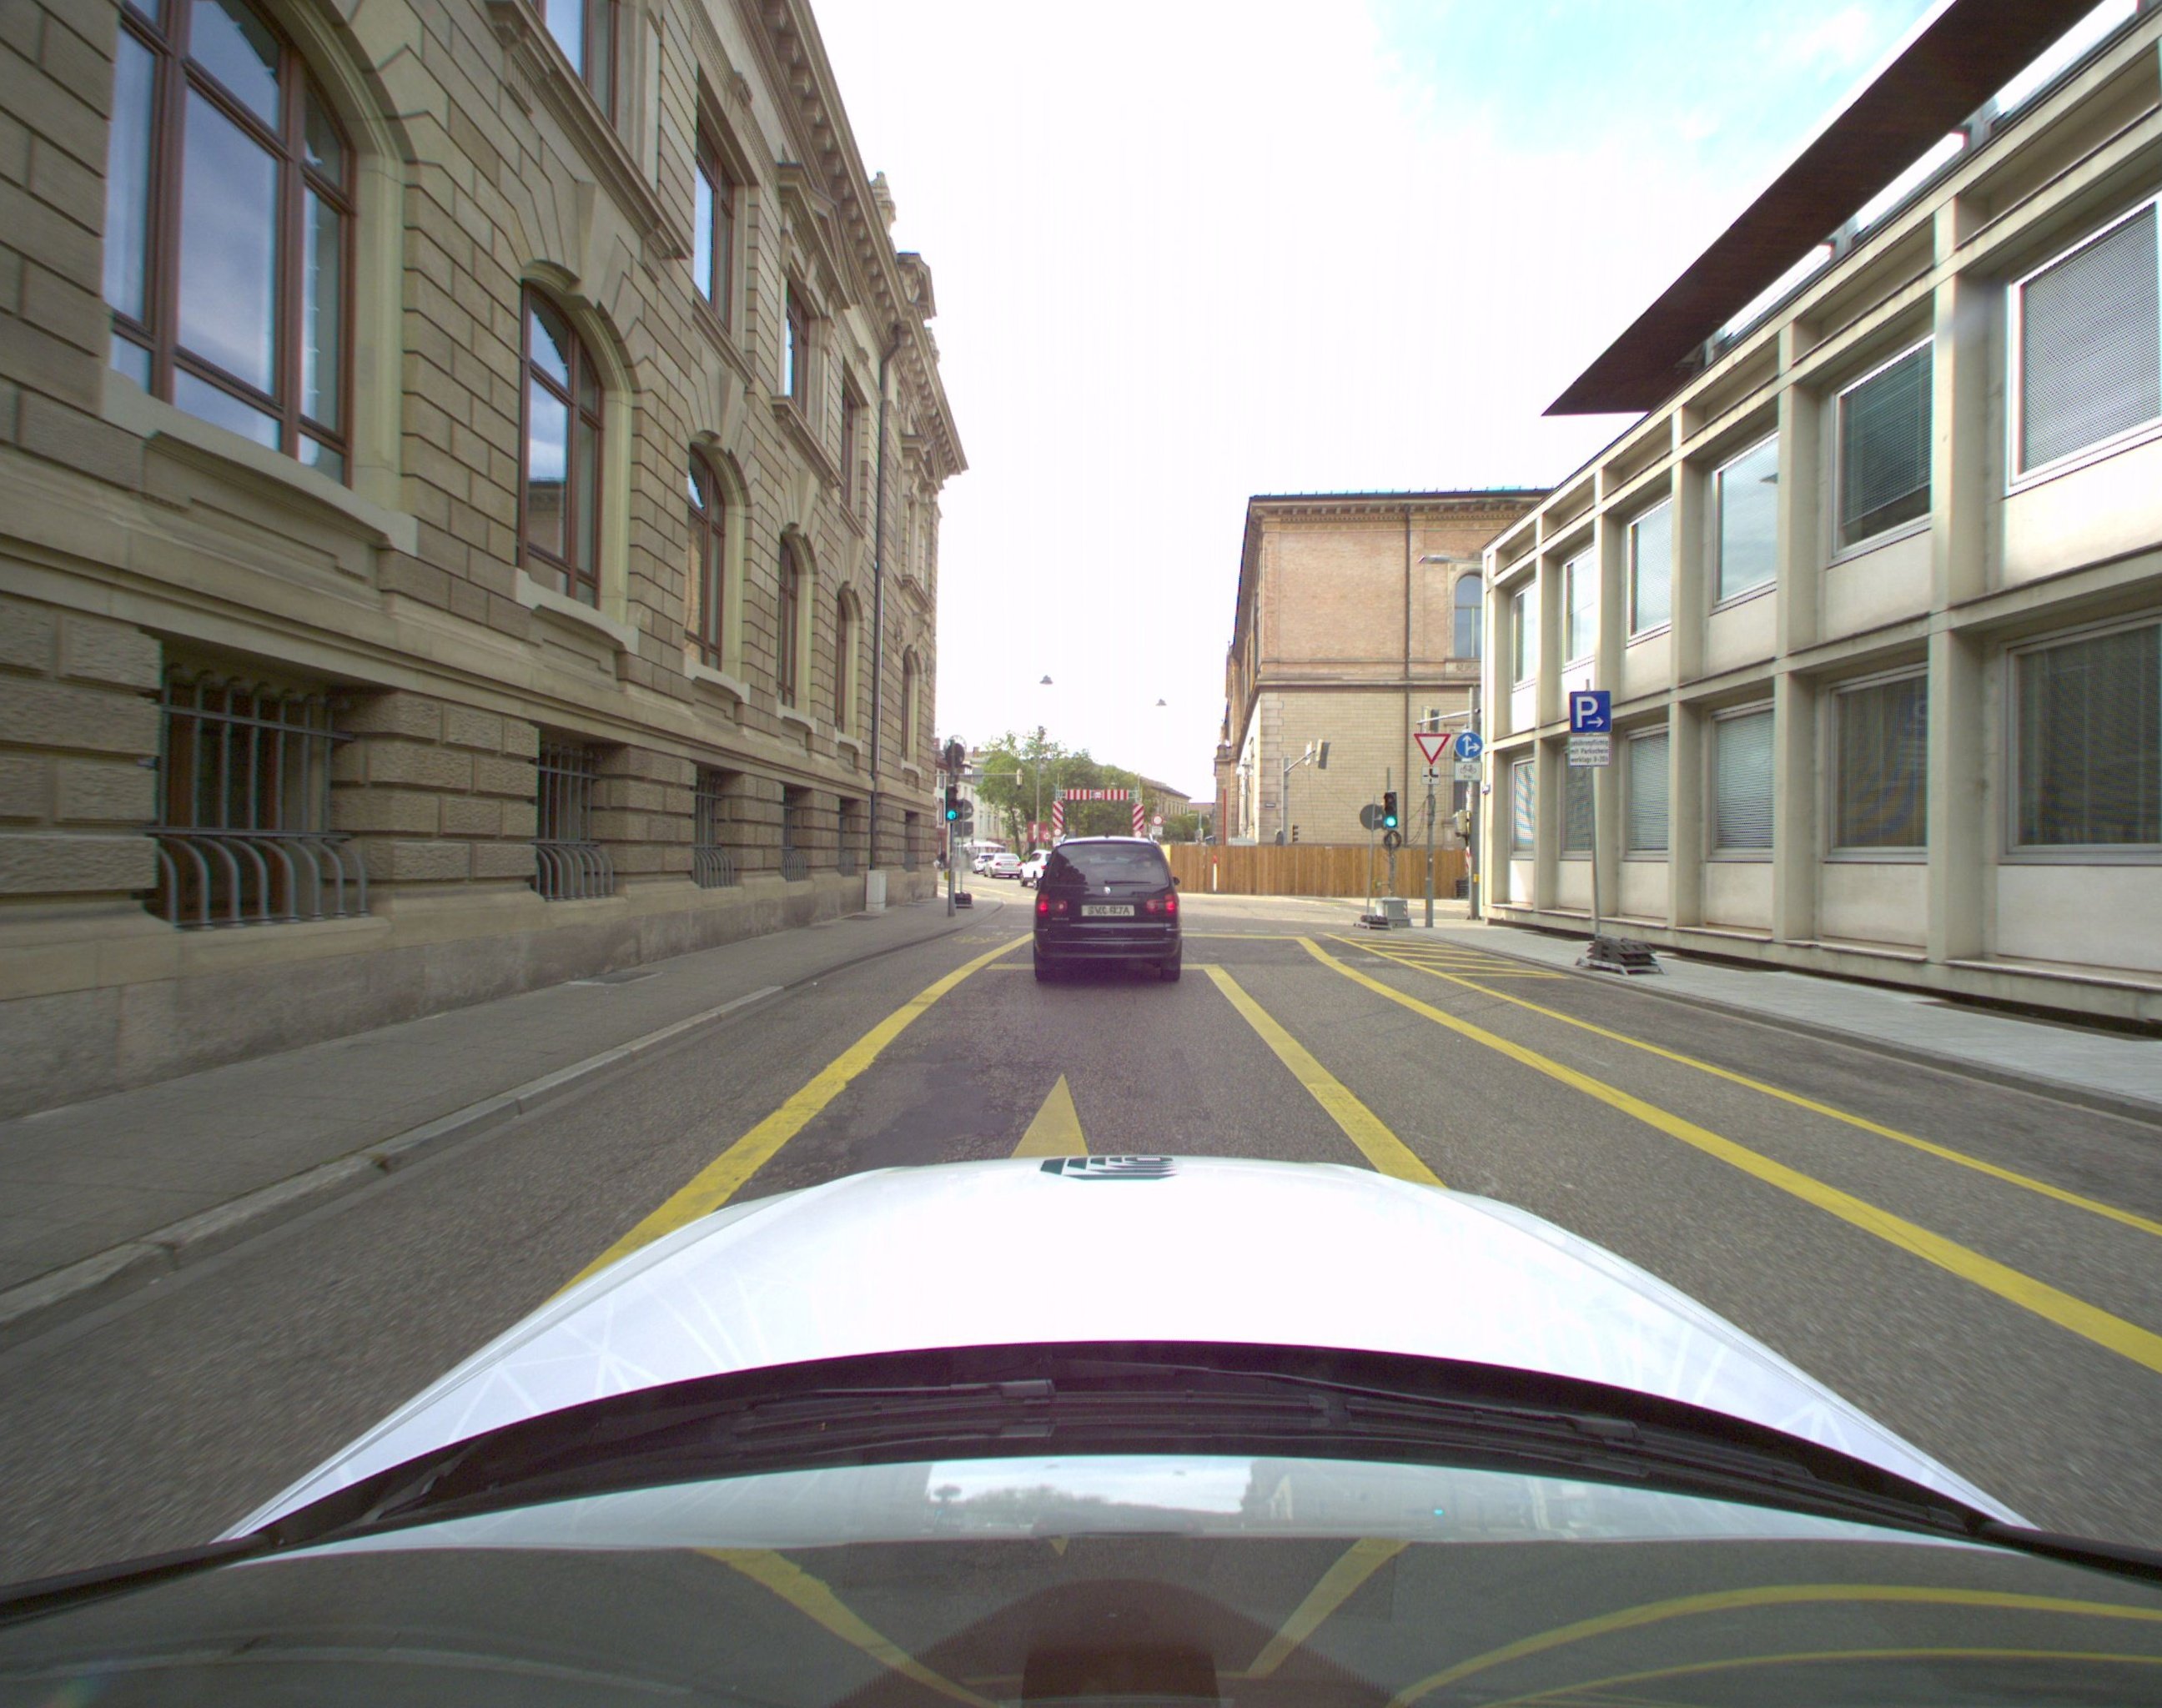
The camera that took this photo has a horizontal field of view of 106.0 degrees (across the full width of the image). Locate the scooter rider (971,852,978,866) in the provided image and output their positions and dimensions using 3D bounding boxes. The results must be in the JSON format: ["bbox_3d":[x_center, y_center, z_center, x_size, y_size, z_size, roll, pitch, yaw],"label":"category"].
[{"bbox_3d":[-11.575,0.568,88.323,0.596,1.490,0.680,0,-1,4],"label":"scooter rider"}]

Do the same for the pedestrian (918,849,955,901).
[{"bbox_3d":[-5.292,0.769,29.829,1.037,1.819,0.798,2,-1,14],"label":"pedestrian"}]

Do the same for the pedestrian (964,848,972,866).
[{"bbox_3d":[-12.760,0.389,91.971,0.581,2.014,0.689,0,-1,13],"label":"pedestrian"}]

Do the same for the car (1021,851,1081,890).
[{"bbox_3d":[-1.365,0.683,34.898,1.776,1.586,3.980,1,-1,-14],"label":"car"}]

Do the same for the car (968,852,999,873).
[{"bbox_3d":[-6.652,0.572,55.388,1.651,1.321,3.658,1,-1,-13],"label":"car"}]

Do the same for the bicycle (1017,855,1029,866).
[{"bbox_3d":[-5.771,0.631,80.983,0.962,1.112,2.789,0,-1,0],"label":"bicycle"}]

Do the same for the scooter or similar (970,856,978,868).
[{"bbox_3d":[-11.587,0.855,88.264,0.596,1.255,1.554,0,-1,5],"label":"scooter or similar"}]

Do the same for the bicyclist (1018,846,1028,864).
[{"bbox_3d":[-5.781,0.116,80.949,0.962,1.782,0.986,0,-1,-1],"label":"bicyclist"}]

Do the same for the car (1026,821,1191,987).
[{"bbox_3d":[0.405,0.563,10.981,1.782,1.790,4.106,1,-1,3],"label":"car"}]

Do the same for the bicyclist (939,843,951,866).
[{"bbox_3d":[-11.846,0.048,70.918,0.925,1.963,1.102,0,-1,-8],"label":"bicyclist"}]

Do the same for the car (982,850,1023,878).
[{"bbox_3d":[-4.491,0.563,46.389,1.706,1.501,3.979,1,-1,-15],"label":"car"}]

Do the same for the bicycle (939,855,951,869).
[{"bbox_3d":[-11.845,0.707,70.922,0.925,1.255,2.534,0,-1,-7],"label":"bicycle"}]
